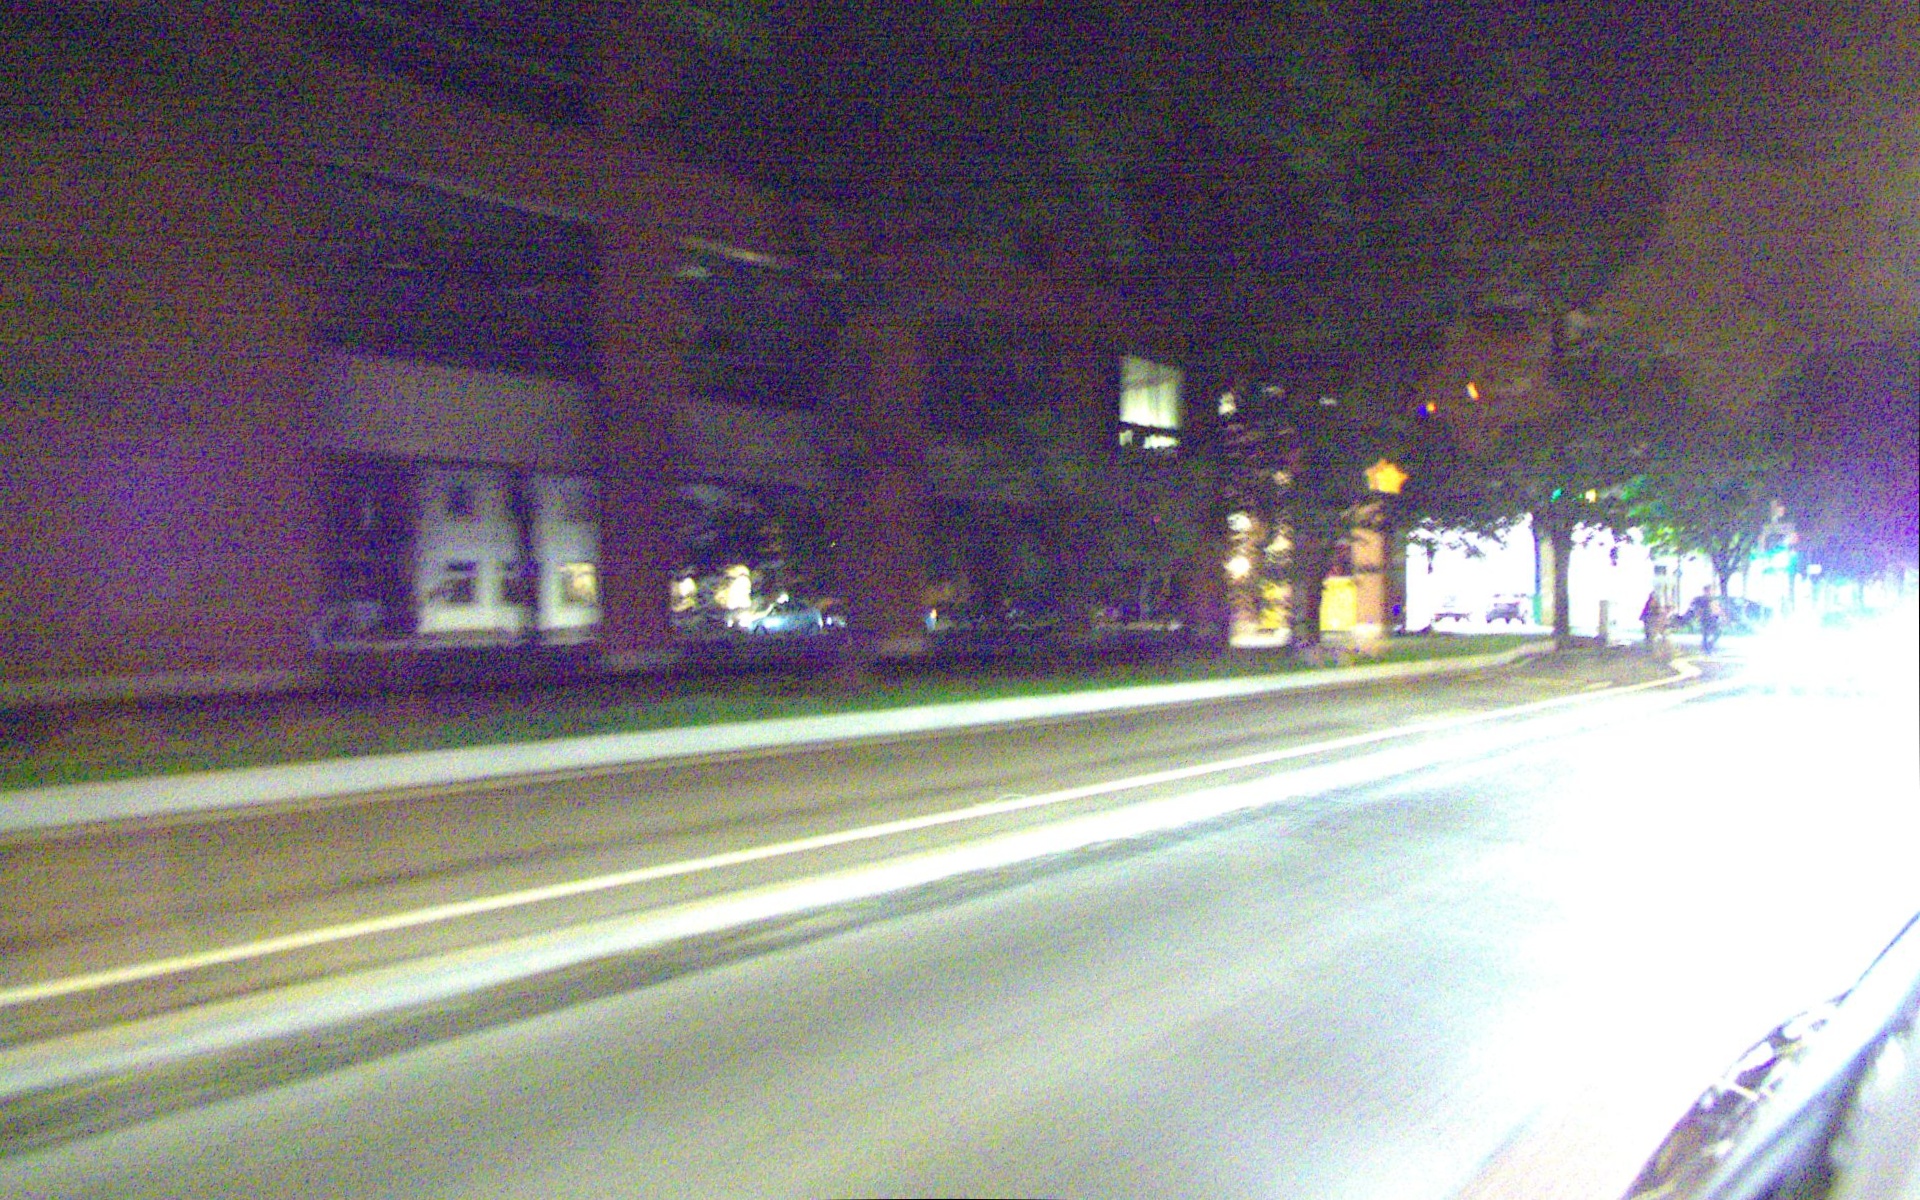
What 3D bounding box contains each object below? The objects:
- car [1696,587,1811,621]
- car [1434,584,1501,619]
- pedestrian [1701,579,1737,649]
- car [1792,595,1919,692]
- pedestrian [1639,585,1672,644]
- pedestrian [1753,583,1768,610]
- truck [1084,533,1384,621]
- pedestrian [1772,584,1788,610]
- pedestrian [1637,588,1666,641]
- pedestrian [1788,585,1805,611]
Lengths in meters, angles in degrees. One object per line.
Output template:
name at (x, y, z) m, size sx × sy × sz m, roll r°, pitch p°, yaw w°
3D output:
car at (37.704, 0.146, 48.157) m, size 1.756 × 1.472 × 4.088 m, roll -1°, pitch 2°, yaw -41°
car at (25.498, 0.053, 50.765) m, size 3.933 × 1.615 × 1.729 m, roll -2°, pitch 2°, yaw -43°
pedestrian at (20.205, 0.349, 26.942) m, size 0.746 × 1.834 × 0.623 m, roll 0°, pitch 1°, yaw -41°
car at (15.739, 0.651, 17.226) m, size 4.420 × 1.448 × 1.727 m, roll -1°, pitch 0°, yaw -41°
pedestrian at (19.968, 0.404, 29.048) m, size 0.667 × 1.659 × 0.622 m, roll 0°, pitch 1°, yaw -40°
pedestrian at (55.857, -0.229, 70.623) m, size 0.890 × 1.839 × 0.675 m, roll 0°, pitch 1°, yaw -41°
truck at (13.791, -1.234, 53.991) m, size 3.076 × 4.033 × 16.815 m, roll -1°, pitch 2°, yaw -39°
pedestrian at (56.524, -0.220, 69.767) m, size 0.953 × 1.811 × 0.720 m, roll 0°, pitch 1°, yaw -41°
pedestrian at (20.703, 0.424, 30.294) m, size 0.622 × 1.553 × 0.573 m, roll 0°, pitch 1°, yaw -40°
pedestrian at (57.158, -0.167, 69.139) m, size 0.968 × 1.738 × 0.736 m, roll 0°, pitch 1°, yaw -41°
